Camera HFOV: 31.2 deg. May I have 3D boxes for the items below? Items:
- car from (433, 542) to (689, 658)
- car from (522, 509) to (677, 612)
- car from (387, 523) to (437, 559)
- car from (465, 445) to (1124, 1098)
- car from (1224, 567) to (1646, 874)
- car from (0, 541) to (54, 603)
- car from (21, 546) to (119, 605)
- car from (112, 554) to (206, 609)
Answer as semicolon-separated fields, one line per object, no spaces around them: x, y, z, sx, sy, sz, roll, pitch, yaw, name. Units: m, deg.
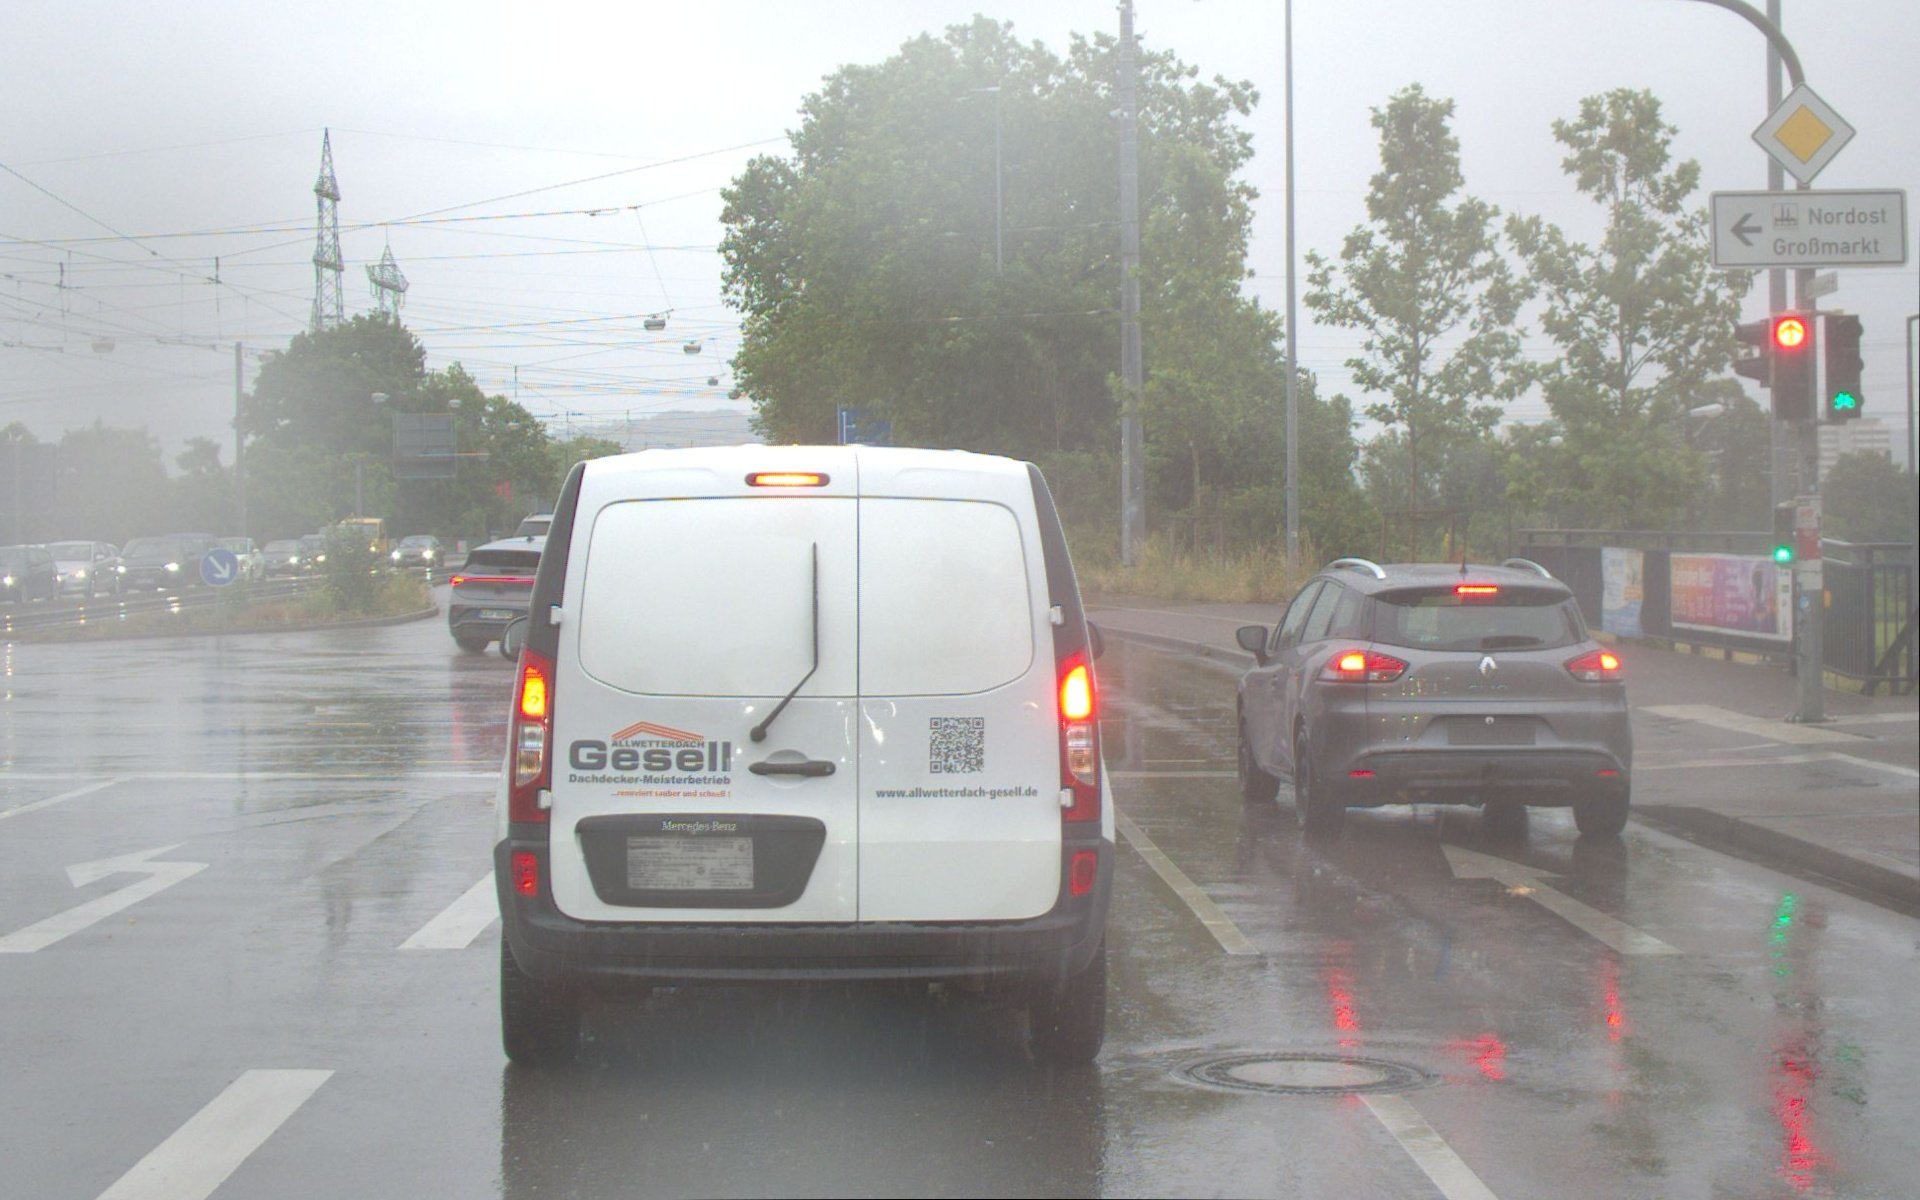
-5.305;0.029;46.245;1.713;1.446;4.195;1;-1;20;car
-6.259;-0.665;60.181;1.947;1.656;4.463;2;0;3;car
-23.520;-2.522;147.608;1.559;1.421;3.569;2;0;-1;car
-0.588;0.410;11.317;1.754;1.744;4.170;0;1;-4;car
2.525;0.584;19.125;1.684;1.503;3.921;1;1;-1;car
-22.603;-0.661;81.000;1.559;1.421;3.569;2;0;-1;car
-22.624;-0.611;87.488;1.559;1.421;3.569;2;0;-1;car
-22.059;-0.490;94.803;1.710;1.421;3.809;2;0;-1;car
